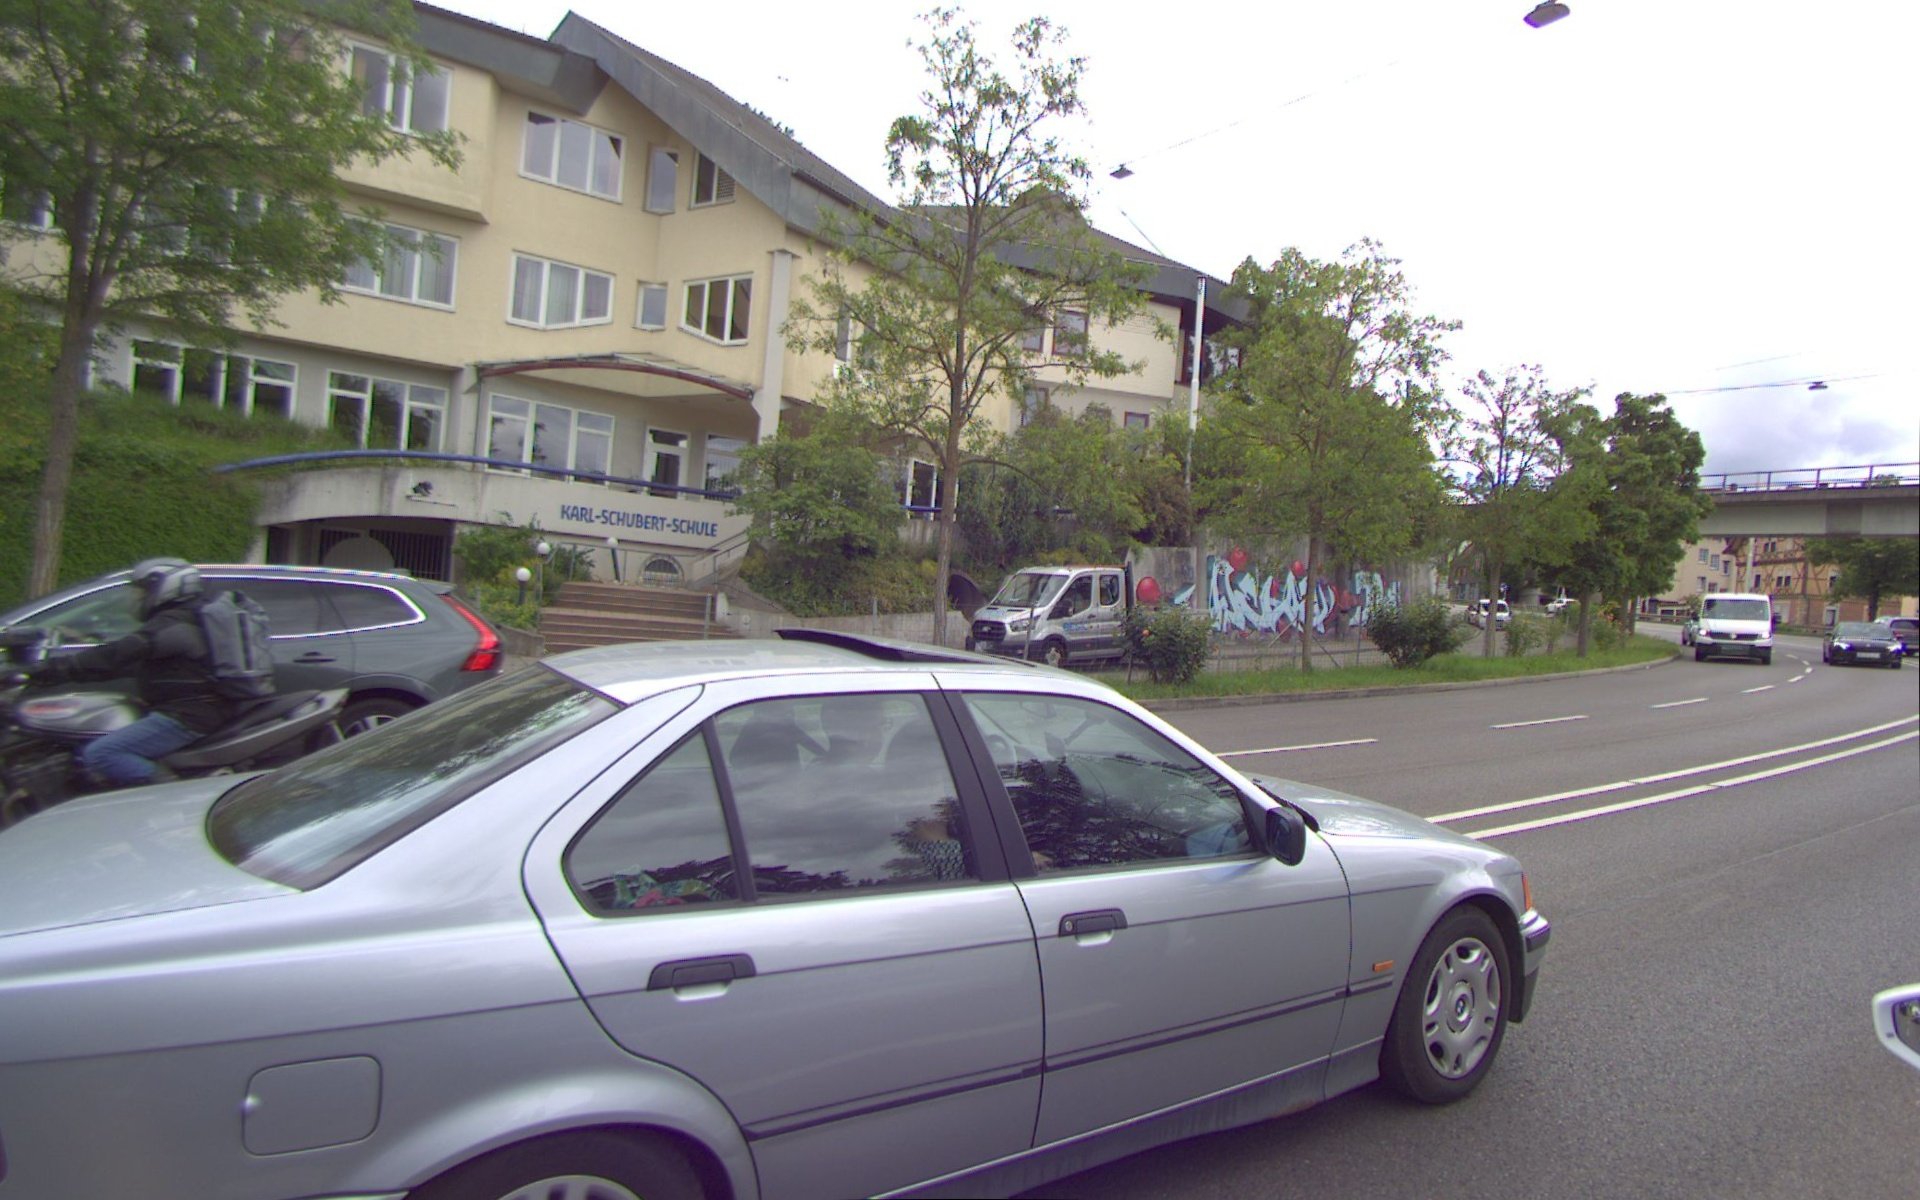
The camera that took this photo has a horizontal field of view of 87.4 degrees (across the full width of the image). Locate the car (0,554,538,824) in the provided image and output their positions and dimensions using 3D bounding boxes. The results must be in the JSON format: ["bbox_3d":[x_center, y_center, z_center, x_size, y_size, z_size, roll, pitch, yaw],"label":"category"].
[{"bbox_3d":[-5.509,0.531,7.101,4.419,1.596,1.775,1,0,-33],"label":"car"}]

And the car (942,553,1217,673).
[{"bbox_3d":[2.767,0.290,22.042,6.274,2.303,2.249,2,0,-40],"label":"car"}]

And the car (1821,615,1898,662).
[{"bbox_3d":[30.051,1.225,33.645,1.715,1.433,4.408,1,0,40],"label":"car"}]

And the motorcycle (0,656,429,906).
[{"bbox_3d":[-3.851,0.820,4.867,2.240,1.070,0.481,1,-2,-29],"label":"motorcycle"}]

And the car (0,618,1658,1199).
[{"bbox_3d":[-0.052,0.828,2.928,4.566,1.401,1.626,1,2,-30],"label":"car"}]

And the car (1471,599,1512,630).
[{"bbox_3d":[32.947,0.864,62.345,1.738,1.809,4.463,1,1,22],"label":"car"}]

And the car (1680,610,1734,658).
[{"bbox_3d":[34.919,1.527,47.013,1.804,1.929,3.922,5,4,35],"label":"car"}]

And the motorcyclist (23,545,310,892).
[{"bbox_3d":[-3.814,0.533,4.931,0.949,1.504,0.757,1,-1,-28],"label":"motorcyclist"}]

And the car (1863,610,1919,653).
[{"bbox_3d":[39.489,1.305,42.282,1.700,1.662,3.445,3,2,35],"label":"car"}]

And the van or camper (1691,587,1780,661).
[{"bbox_3d":[26.850,0.784,34.696,1.986,2.291,5.930,2,1,42],"label":"van or camper"}]

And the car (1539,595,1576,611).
[{"bbox_3d":[56.339,0.289,94.766,1.693,1.394,3.458,2,1,8],"label":"car"}]

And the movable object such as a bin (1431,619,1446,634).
[{"bbox_3d":[25.086,1.380,52.642,0.548,0.649,0.581,6,4,12],"label":"movable object such as a bin"}]
